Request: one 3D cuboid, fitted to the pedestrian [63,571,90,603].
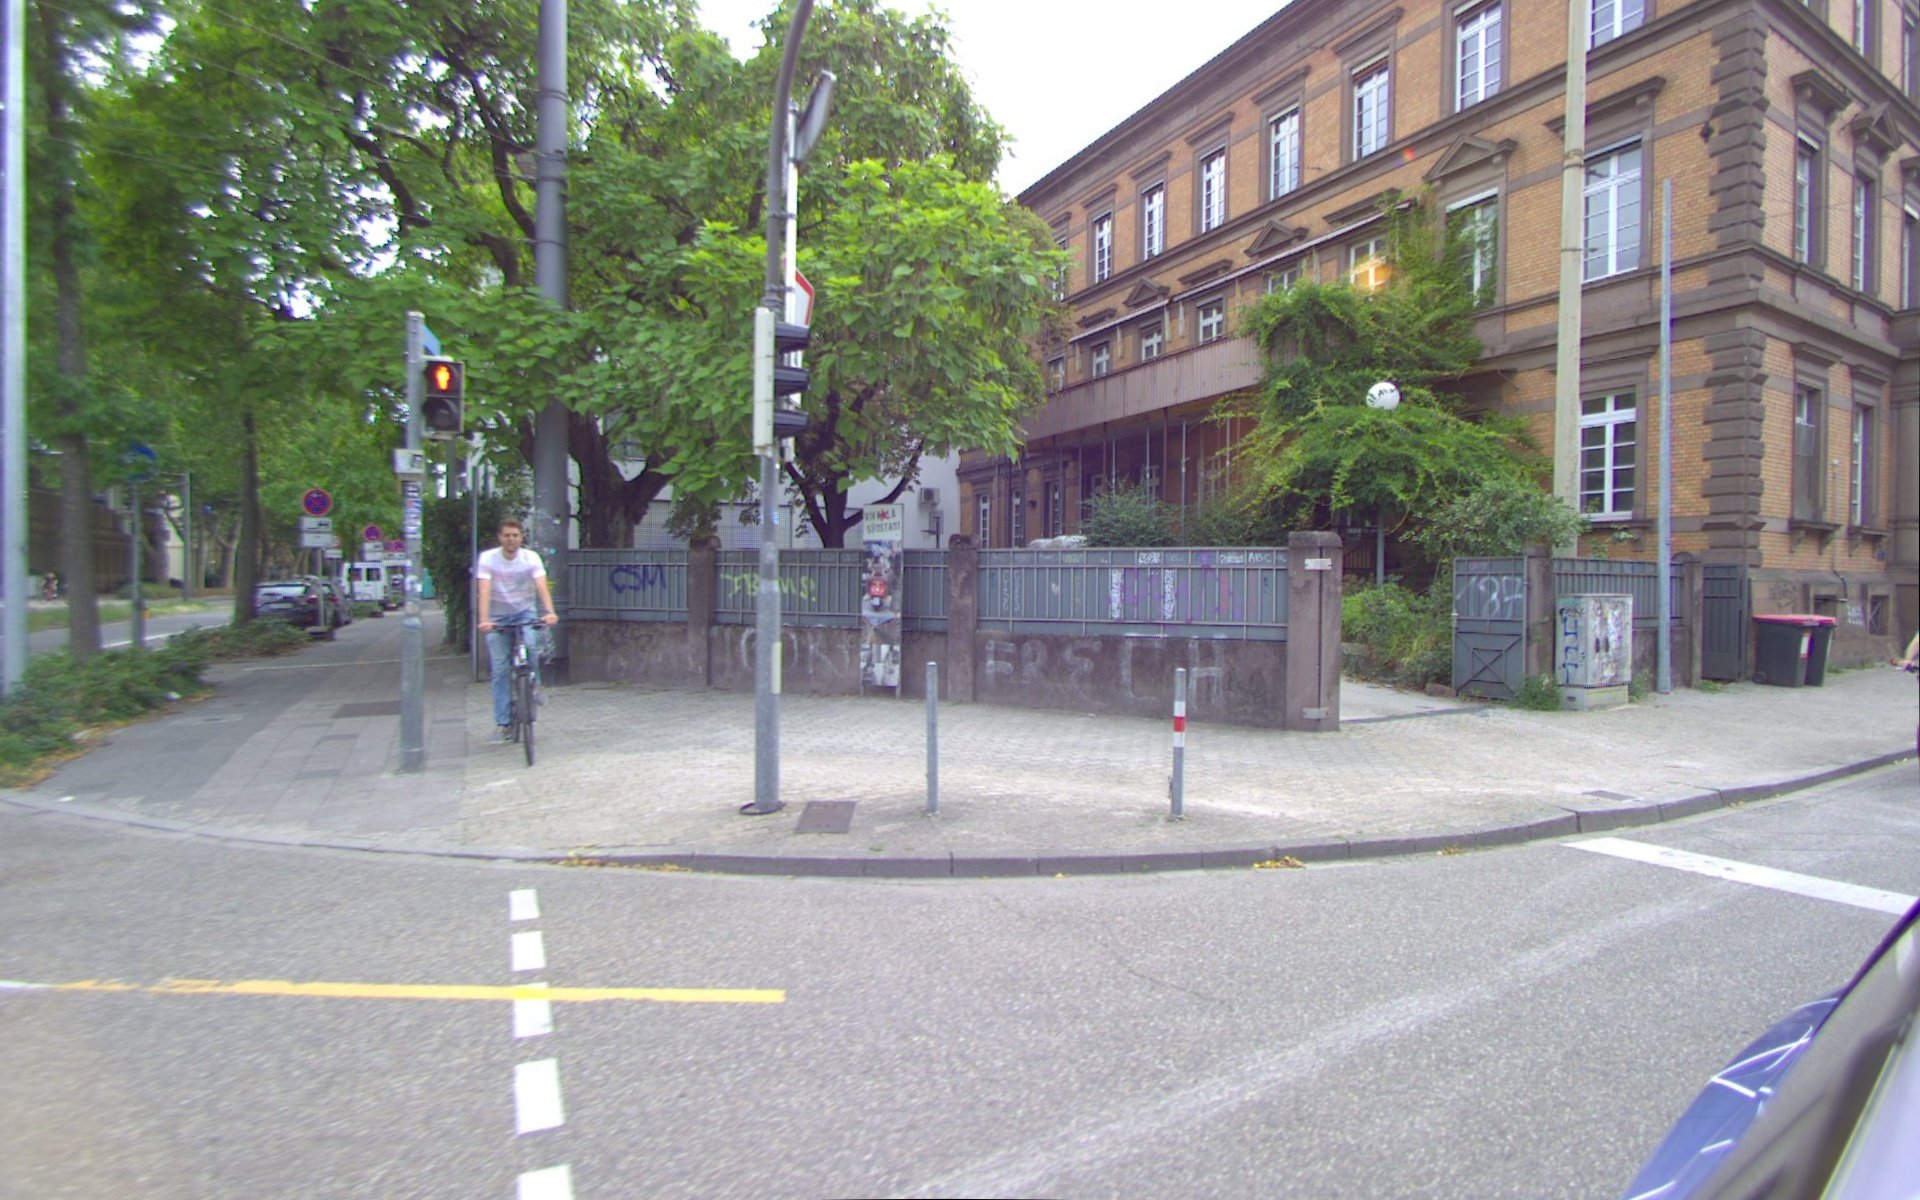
[{"bbox_3d":[-53.668,-0.794,61.492,0.819,1.888,1.254,0,1,-17],"label":"pedestrian"}]

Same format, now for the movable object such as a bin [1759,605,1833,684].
[{"bbox_3d":[12.755,0.661,15.449,0.665,1.095,0.653,-1,5,-35],"label":"movable object such as a bin"}]

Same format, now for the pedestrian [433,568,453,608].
[{"bbox_3d":[-21.744,-0.518,42.555,0.753,1.671,0.767,0,1,-27],"label":"pedestrian"}]

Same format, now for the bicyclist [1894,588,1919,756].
[{"bbox_3d":[9.195,0.646,9.251,0.901,1.527,0.716,0,-3,-33],"label":"bicyclist"}]

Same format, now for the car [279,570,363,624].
[{"bbox_3d":[-19.845,-0.130,31.600,1.724,1.555,4.428,0,1,-26],"label":"car"}]

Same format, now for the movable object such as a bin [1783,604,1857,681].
[{"bbox_3d":[13.389,0.651,15.755,0.688,1.095,0.666,-1,5,-35],"label":"movable object such as a bin"}]

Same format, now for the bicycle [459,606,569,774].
[{"bbox_3d":[-3.759,0.667,8.450,0.736,1.099,2.020,-1,3,-26],"label":"bicycle"}]

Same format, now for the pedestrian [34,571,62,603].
[{"bbox_3d":[-54.780,-0.799,60.781,0.819,1.888,1.178,0,1,-16],"label":"pedestrian"}]

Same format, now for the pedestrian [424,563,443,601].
[{"bbox_3d":[-25.551,-0.873,49.108,0.753,1.803,0.767,0,1,-25],"label":"pedestrian"}]

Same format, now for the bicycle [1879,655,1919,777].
[{"bbox_3d":[9.242,1.032,9.289,1.765,1.031,0.715,0,-3,-33],"label":"bicycle"}]

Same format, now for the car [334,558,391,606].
[{"bbox_3d":[-29.032,-0.891,49.291,2.055,2.217,4.428,0,1,-26],"label":"car"}]

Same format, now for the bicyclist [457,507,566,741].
[{"bbox_3d":[-3.746,0.146,8.412,0.733,1.782,1.255,-2,3,-26],"label":"bicyclist"}]

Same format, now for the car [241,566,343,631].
[{"bbox_3d":[-17.797,-0.084,27.127,1.701,1.580,4.428,0,1,-26],"label":"car"}]
